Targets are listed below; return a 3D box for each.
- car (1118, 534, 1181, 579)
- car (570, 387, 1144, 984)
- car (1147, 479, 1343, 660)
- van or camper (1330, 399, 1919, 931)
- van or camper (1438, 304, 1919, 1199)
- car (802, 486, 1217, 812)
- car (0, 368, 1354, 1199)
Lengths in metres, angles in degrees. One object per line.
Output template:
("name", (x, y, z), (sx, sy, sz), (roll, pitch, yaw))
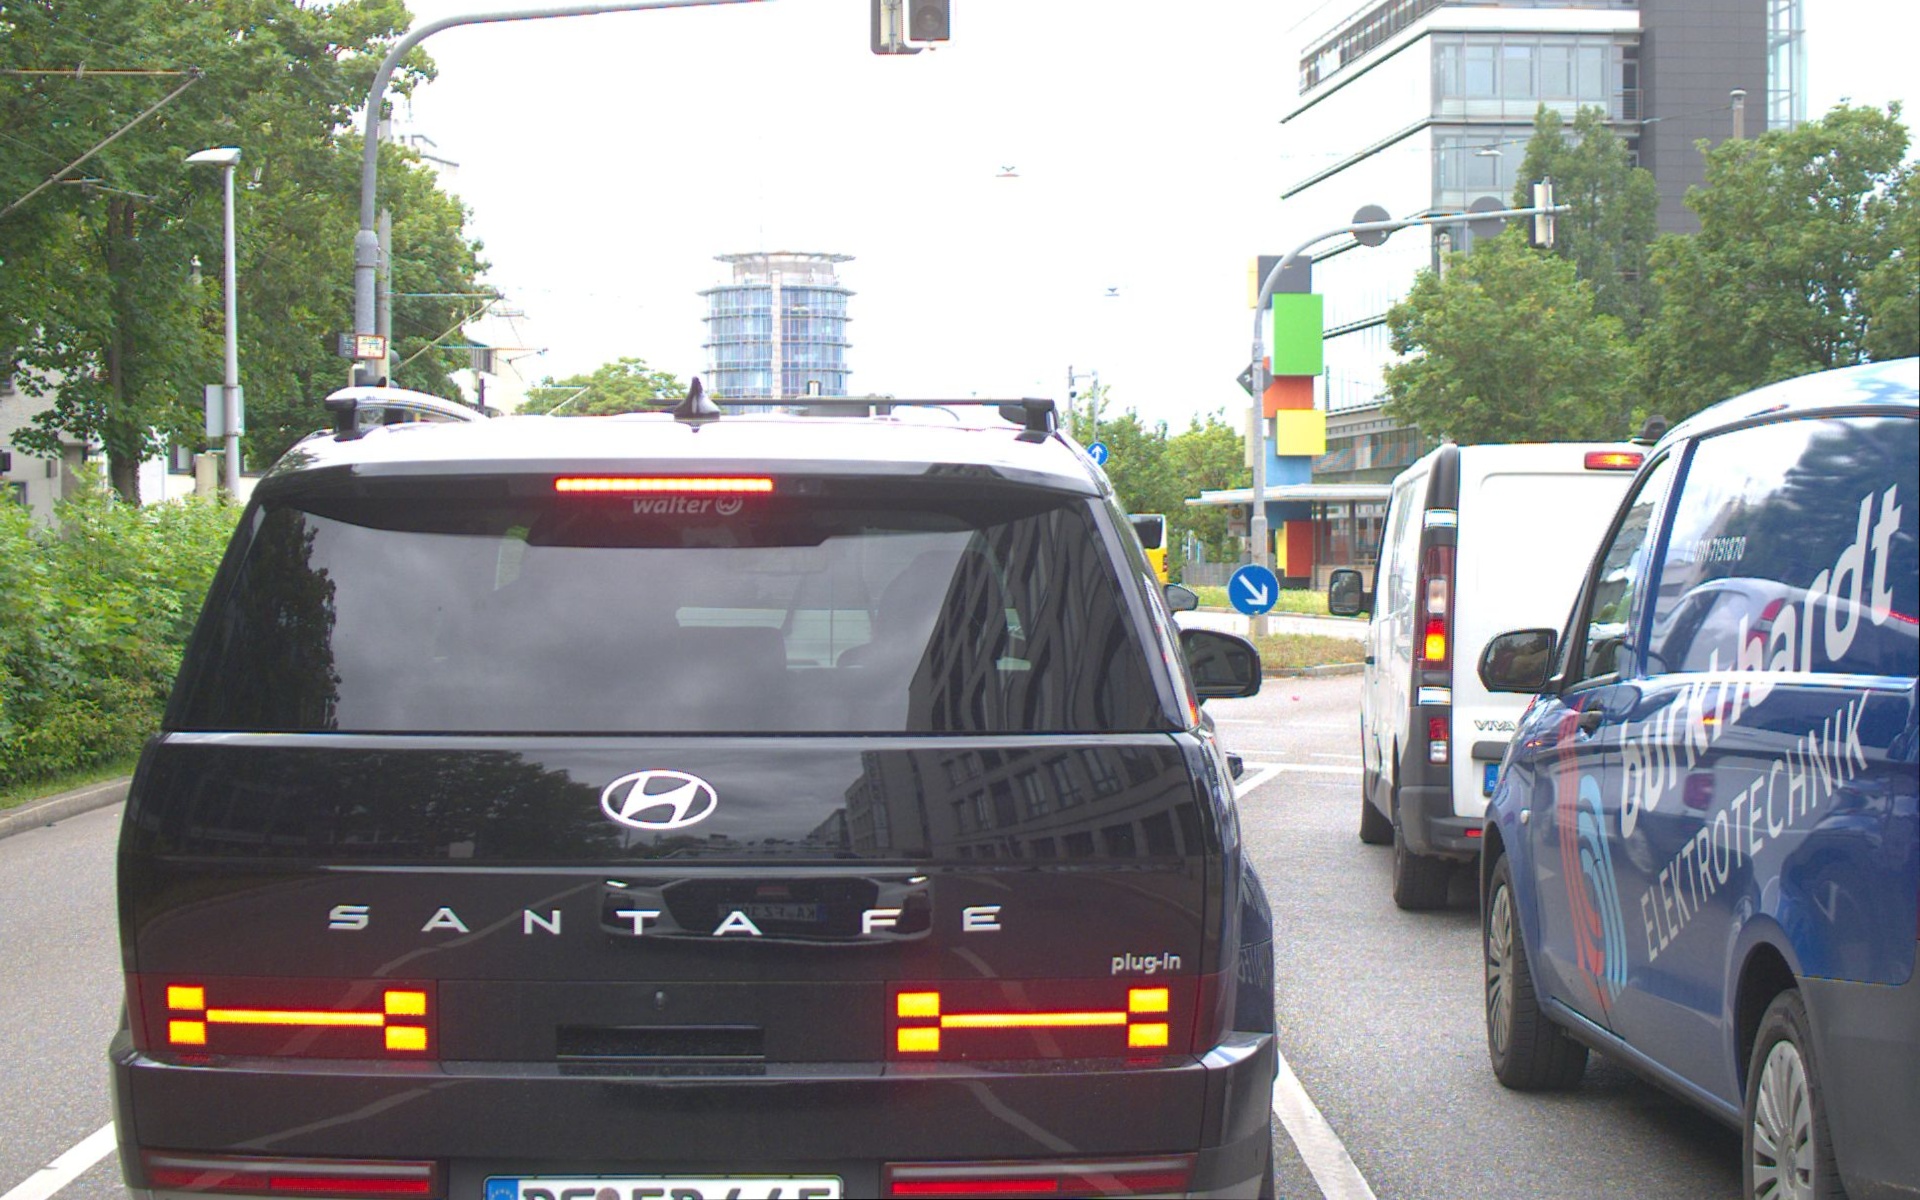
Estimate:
("car", (7.257, -1.655, 131.823), (1.993, 1.678, 4.000), (0, 0, -3))
("car", (-0.367, 0.252, 13.467), (1.915, 1.996, 3.880), (0, 1, -1))
("car", (3.292, -0.352, 40.405), (1.993, 2.007, 4.000), (0, 0, 1))
("van or camper", (2.792, 0.206, 15.429), (1.994, 2.007, 4.652), (1, 1, 3))
("van or camper", (2.390, 0.447, 7.800), (1.859, 1.904, 5.032), (0, 1, -1))
("car", (0.415, 0.240, 20.440), (1.776, 1.711, 4.336), (1, 0, 10))
("car", (-0.417, 0.530, 6.621), (1.869, 1.754, 3.880), (0, 1, -1))
